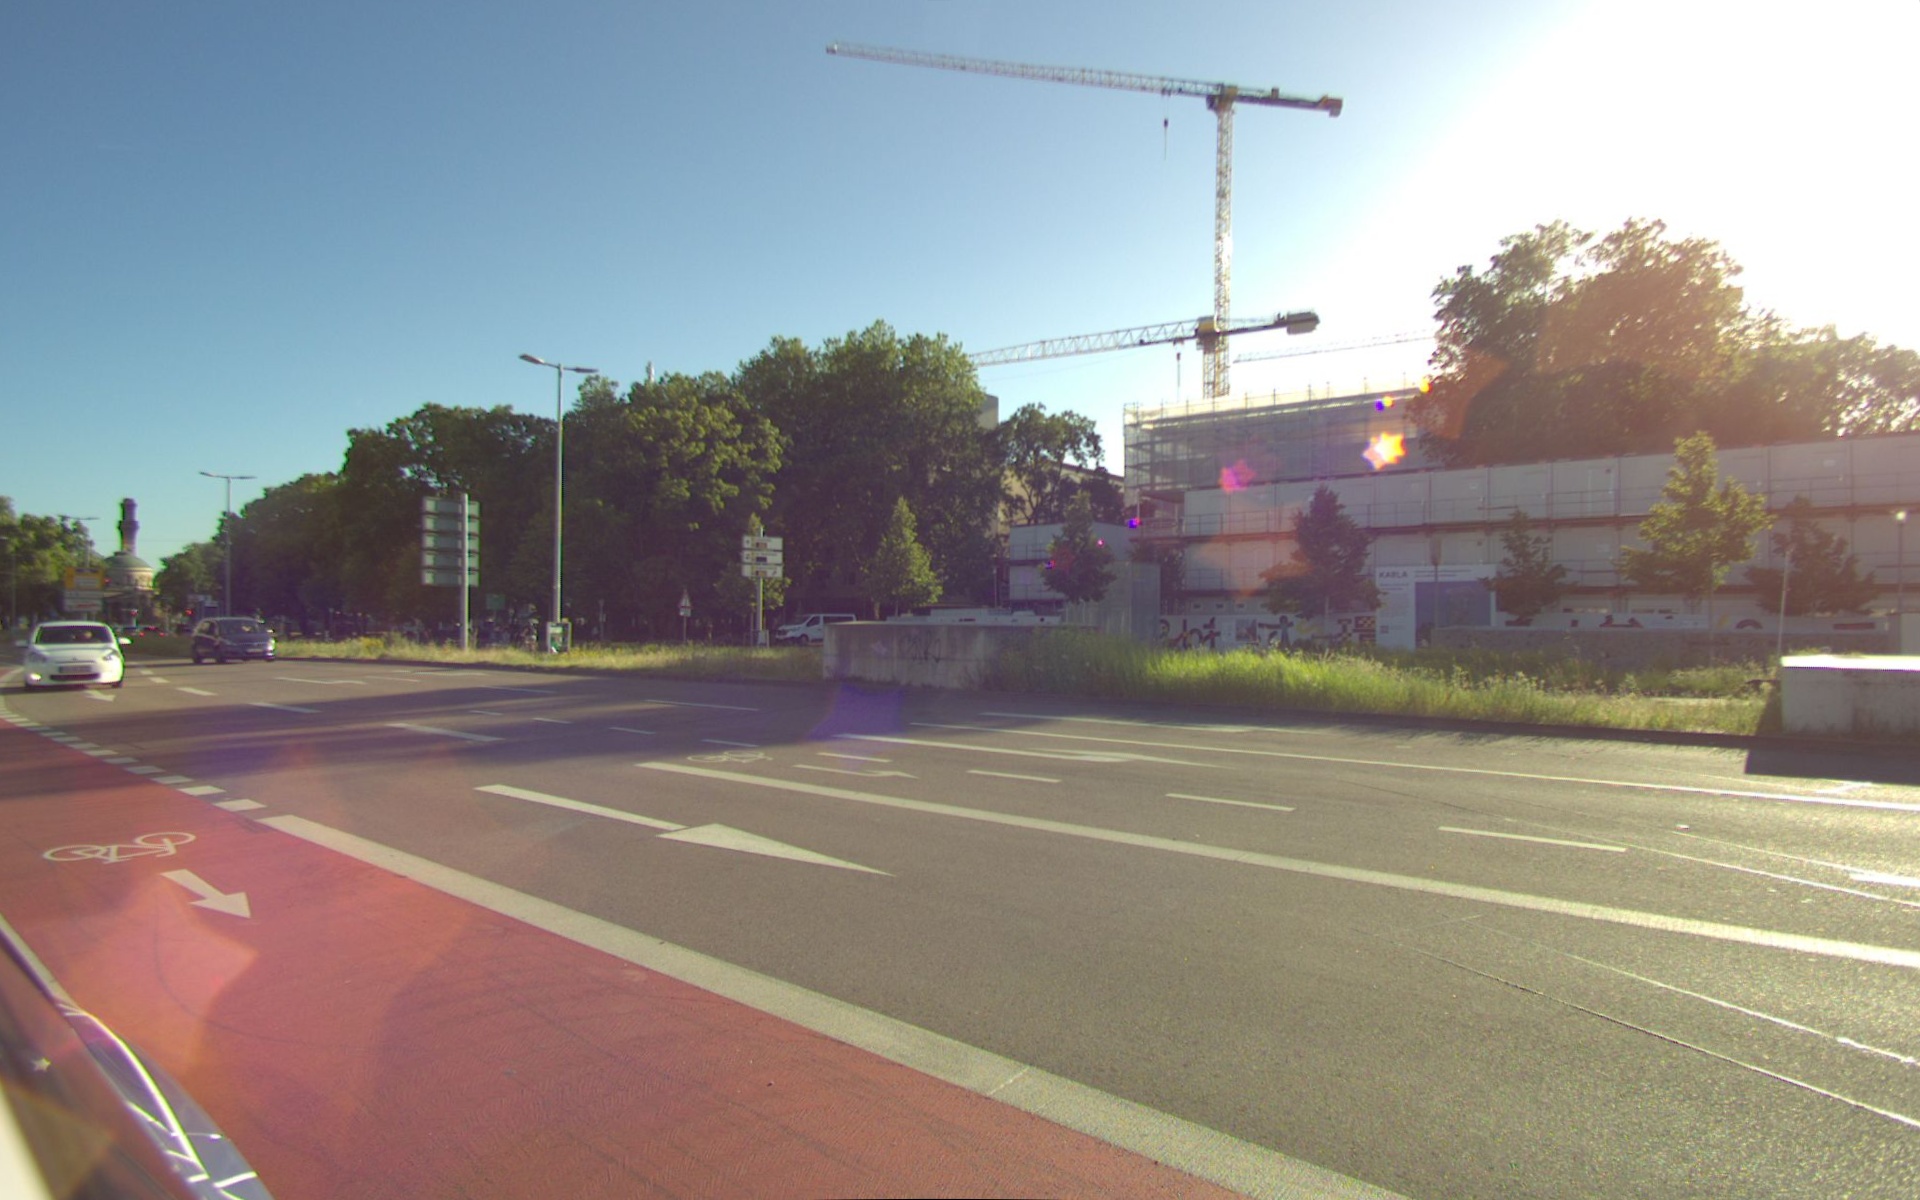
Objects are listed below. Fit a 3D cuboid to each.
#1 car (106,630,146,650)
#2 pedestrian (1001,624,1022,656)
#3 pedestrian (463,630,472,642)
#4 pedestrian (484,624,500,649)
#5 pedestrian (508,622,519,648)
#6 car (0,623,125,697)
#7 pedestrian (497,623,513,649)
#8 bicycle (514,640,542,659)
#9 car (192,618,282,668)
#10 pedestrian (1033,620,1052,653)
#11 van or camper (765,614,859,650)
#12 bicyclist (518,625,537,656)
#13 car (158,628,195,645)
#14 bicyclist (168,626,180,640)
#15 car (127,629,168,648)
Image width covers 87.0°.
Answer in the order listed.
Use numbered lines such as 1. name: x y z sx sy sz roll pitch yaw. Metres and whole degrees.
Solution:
1. car: -74.572 3.542 90.500 4.546 1.688 1.973 -1 -2 40
2. pedestrian: 2.533 1.952 49.449 0.834 1.570 0.574 -2 -3 38
3. pedestrian: -56.524 4.086 116.191 0.599 1.350 0.723 -2 -2 43
4. pedestrian: -31.449 2.447 67.972 0.726 1.653 0.734 -2 -2 44
5. pedestrian: -30.609 2.414 69.373 0.655 1.754 0.518 -2 -2 44
6. car: -19.919 1.269 22.393 3.764 1.475 1.657 -1 -1 42
7. pedestrian: -30.862 2.431 68.614 0.761 1.754 0.763 -2 -2 44
8. bicycle: -20.884 2.374 48.898 0.605 0.868 1.952 1 -2 -44
9. car: -25.735 1.496 35.974 3.998 1.651 1.711 -1 -1 41
10. pedestrian: 4.251 1.893 52.199 0.834 1.701 0.574 -2 -3 38
11. van or camper: -9.001 1.981 61.986 2.257 2.029 5.603 1 -1 41
12. bicyclist: -20.904 1.943 48.924 0.600 1.500 0.681 1 -2 -45
13. car: -75.968 3.526 98.085 4.585 1.538 1.913 -2 -2 41
14. bicyclist: -93.453 3.918 120.386 0.837 1.631 0.976 1 -2 -21
15. car: -69.608 3.283 86.653 4.057 1.576 1.973 -1 -2 40
